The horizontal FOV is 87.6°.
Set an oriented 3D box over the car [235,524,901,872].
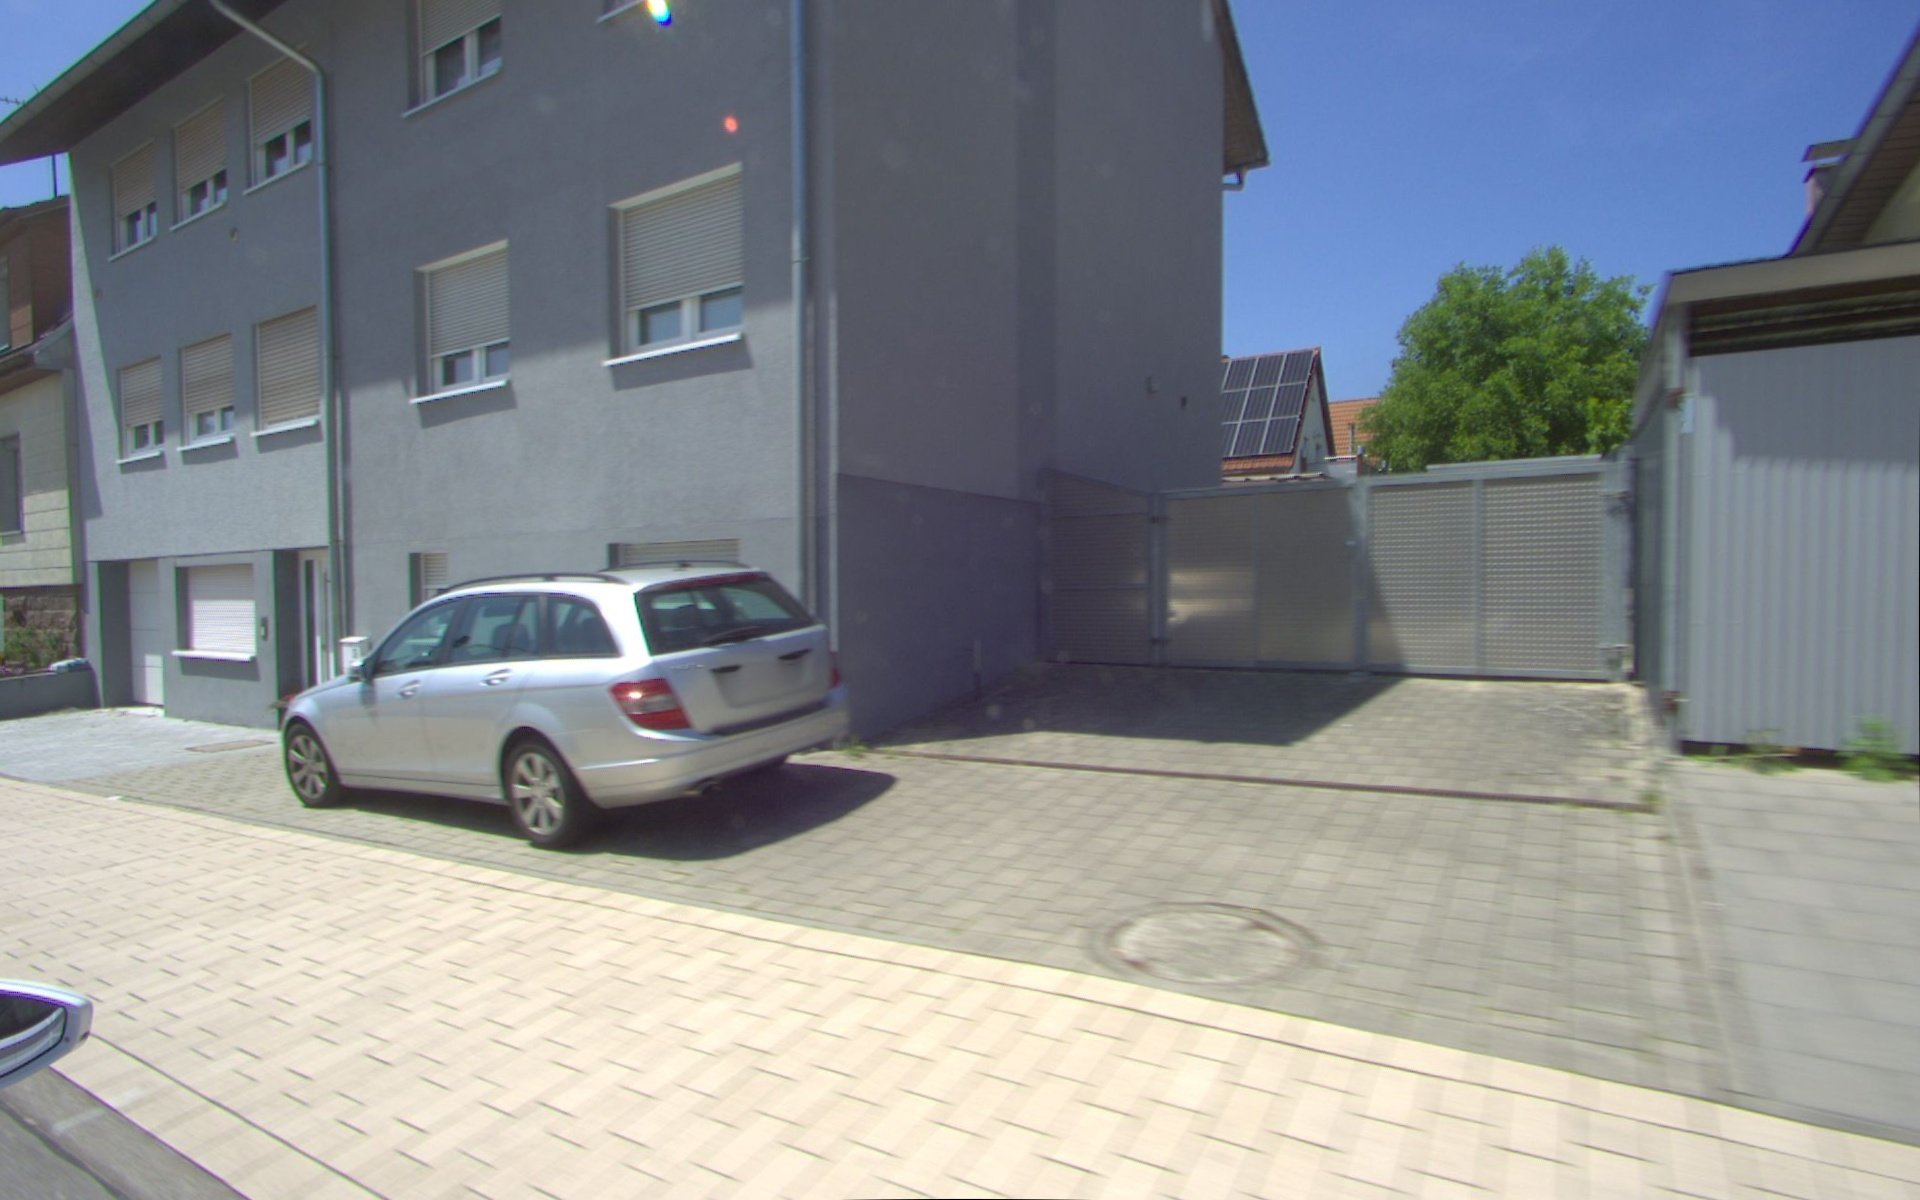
[{"bbox_3d":[-2.739,0.444,6.616,4.458,1.563,1.784,-1,5,34],"label":"car"}]
